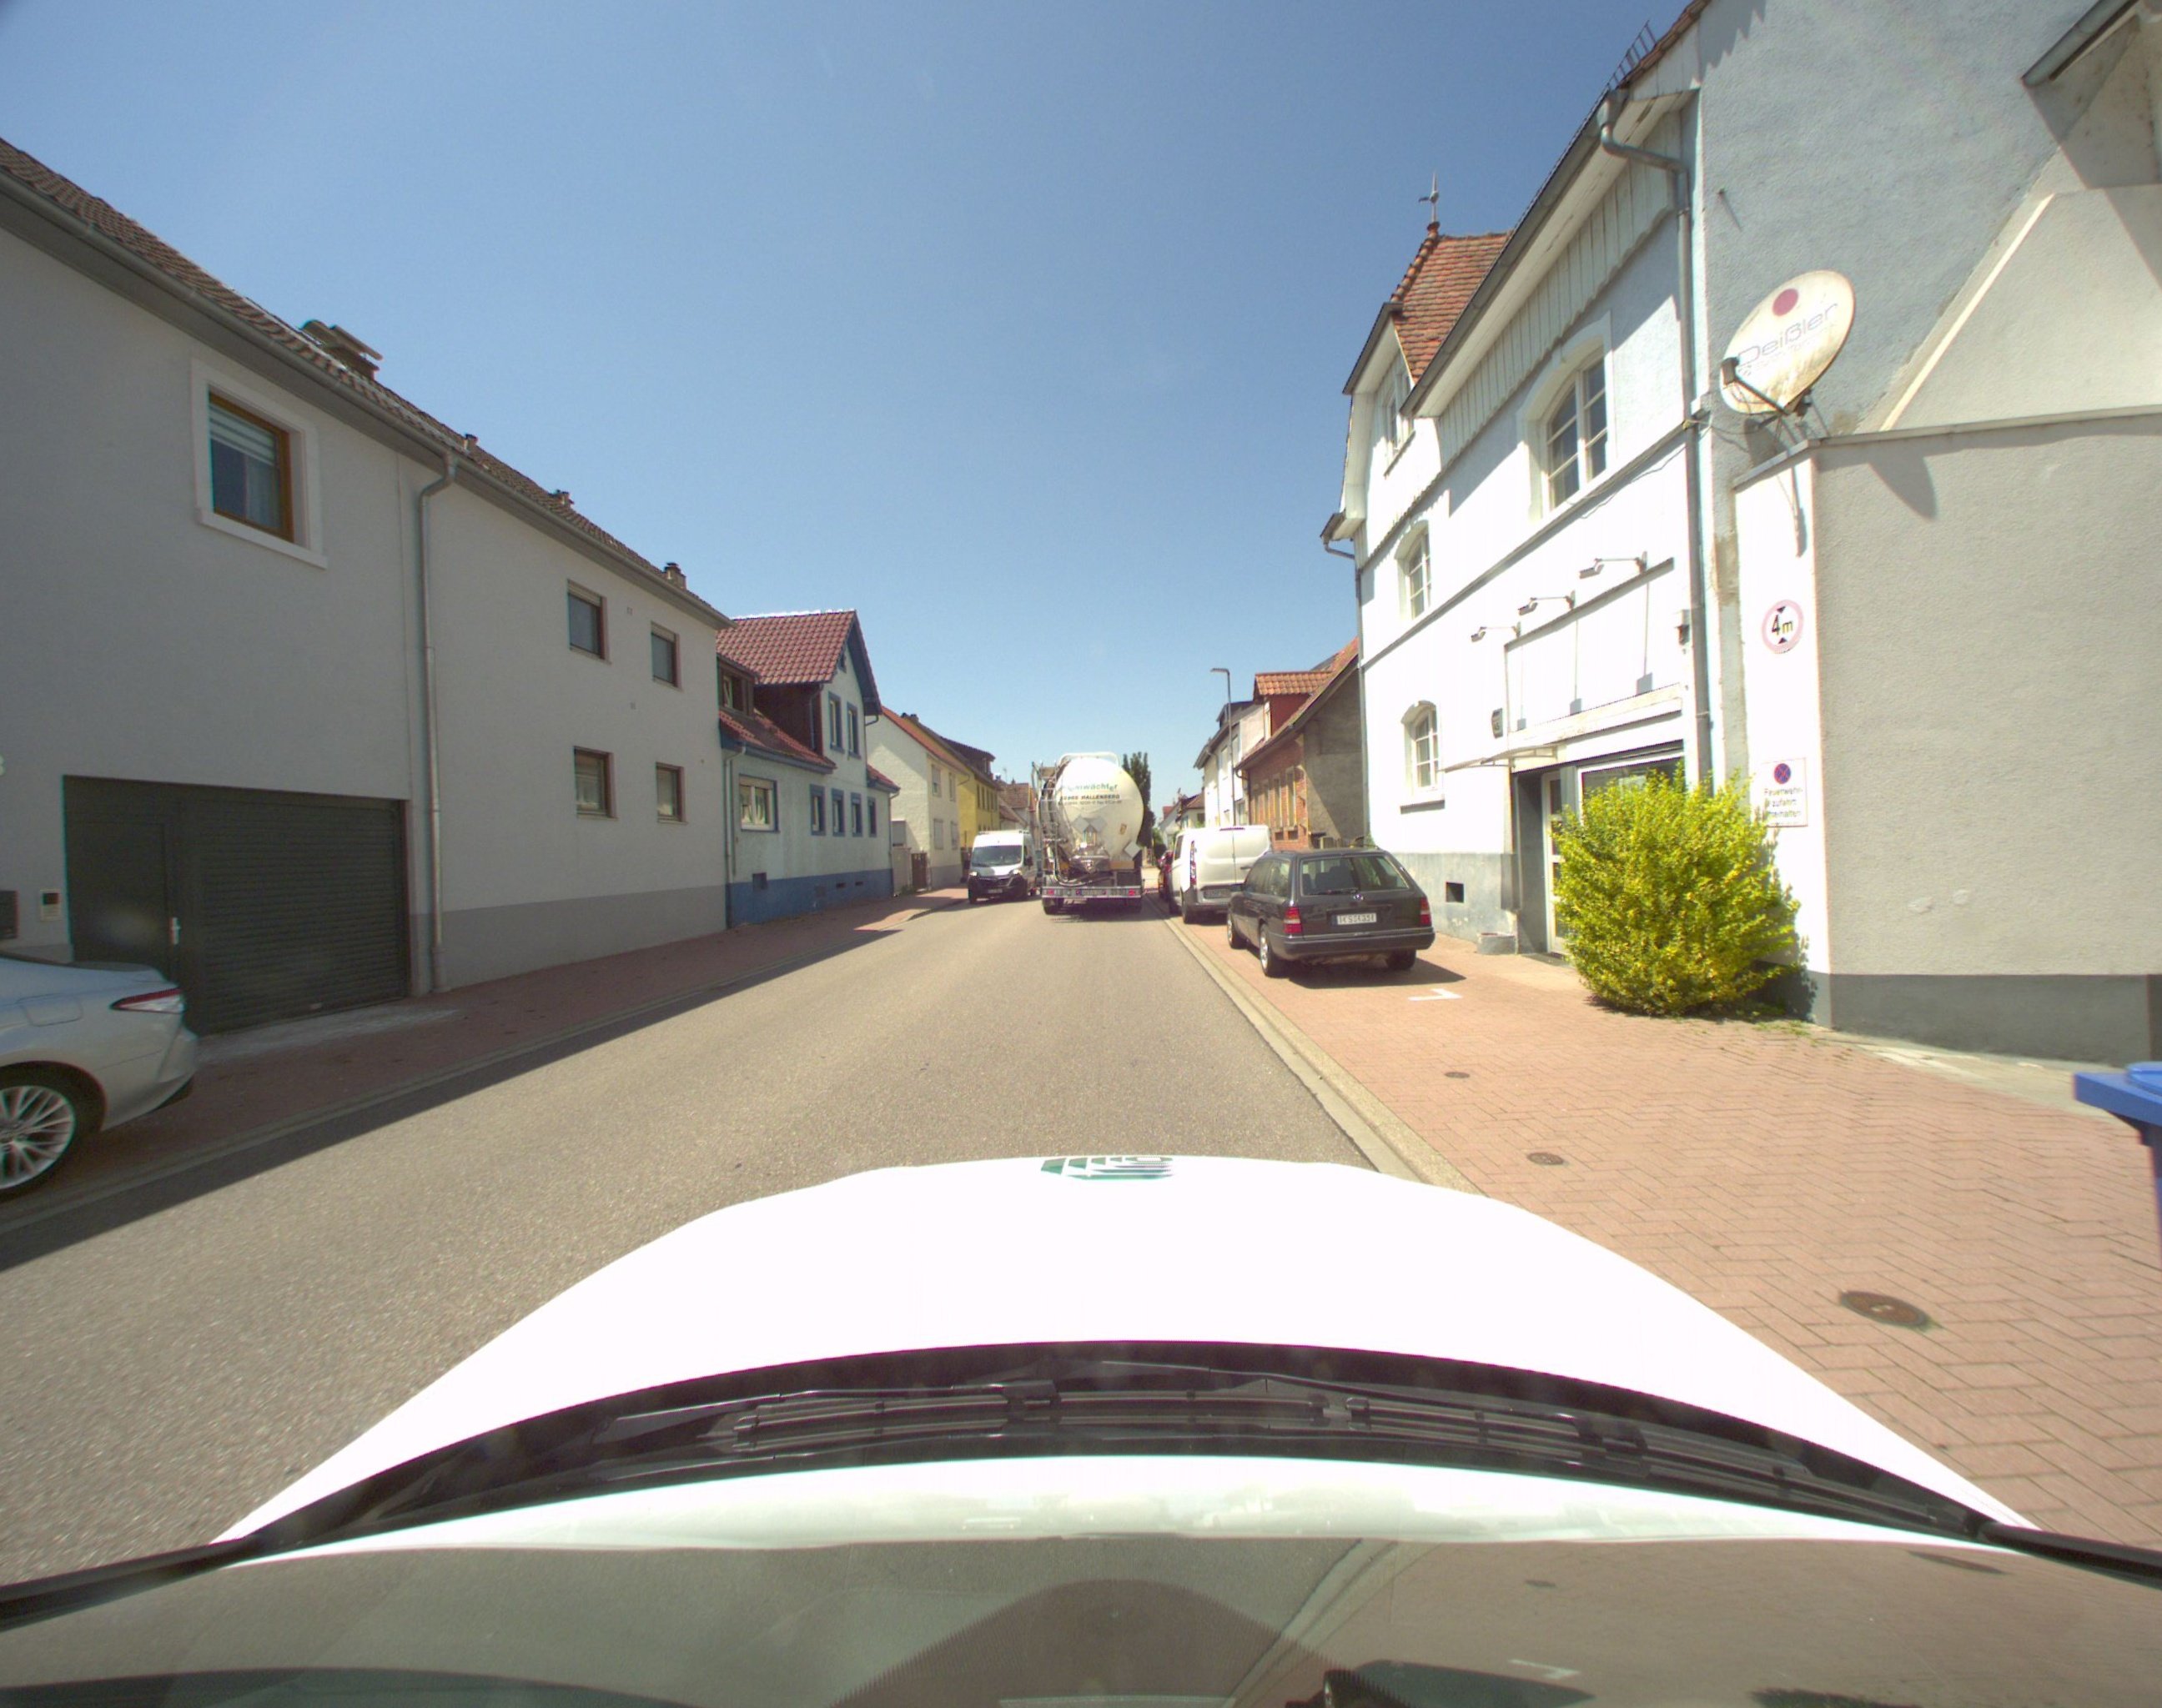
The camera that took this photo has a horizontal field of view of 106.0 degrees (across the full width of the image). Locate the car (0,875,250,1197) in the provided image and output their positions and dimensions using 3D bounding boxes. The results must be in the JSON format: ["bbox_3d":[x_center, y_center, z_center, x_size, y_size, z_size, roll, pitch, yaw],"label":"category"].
[{"bbox_3d":[-6.290,0.922,2.930,1.801,1.557,4.567,0,0,2],"label":"car"}]

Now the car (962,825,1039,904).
[{"bbox_3d":[-2.877,0.337,30.341,2.118,2.542,5.462,-3,0,0],"label":"car"}]

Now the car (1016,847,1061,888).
[{"bbox_3d":[-2.179,0.645,42.894,1.874,1.943,5.119,-3,0,1],"label":"car"}]

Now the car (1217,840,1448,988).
[{"bbox_3d":[3.026,0.618,10.852,1.763,1.466,4.580,-3,0,2],"label":"car"}]

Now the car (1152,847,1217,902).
[{"bbox_3d":[3.208,0.595,25.770,1.604,1.528,3.678,-3,0,2],"label":"car"}]

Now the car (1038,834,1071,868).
[{"bbox_3d":[-1.913,-0.247,61.188,2.044,2.353,6.082,-3,0,1],"label":"car"}]

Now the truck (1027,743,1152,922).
[{"bbox_3d":[0.262,-0.470,22.233,2.723,3.960,8.143,-1,0,1],"label":"truck"}]

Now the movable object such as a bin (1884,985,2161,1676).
[{"bbox_3d":[2.216,0.857,1.443,0.716,1.073,0.976,-4,0,18],"label":"movable object such as a bin"}]

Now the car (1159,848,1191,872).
[{"bbox_3d":[6.488,0.391,56.037,1.804,1.462,4.899,2,1,10],"label":"car"}]

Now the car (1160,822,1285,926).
[{"bbox_3d":[3.036,0.387,18.534,1.940,1.970,4.784,-3,0,0],"label":"car"}]
